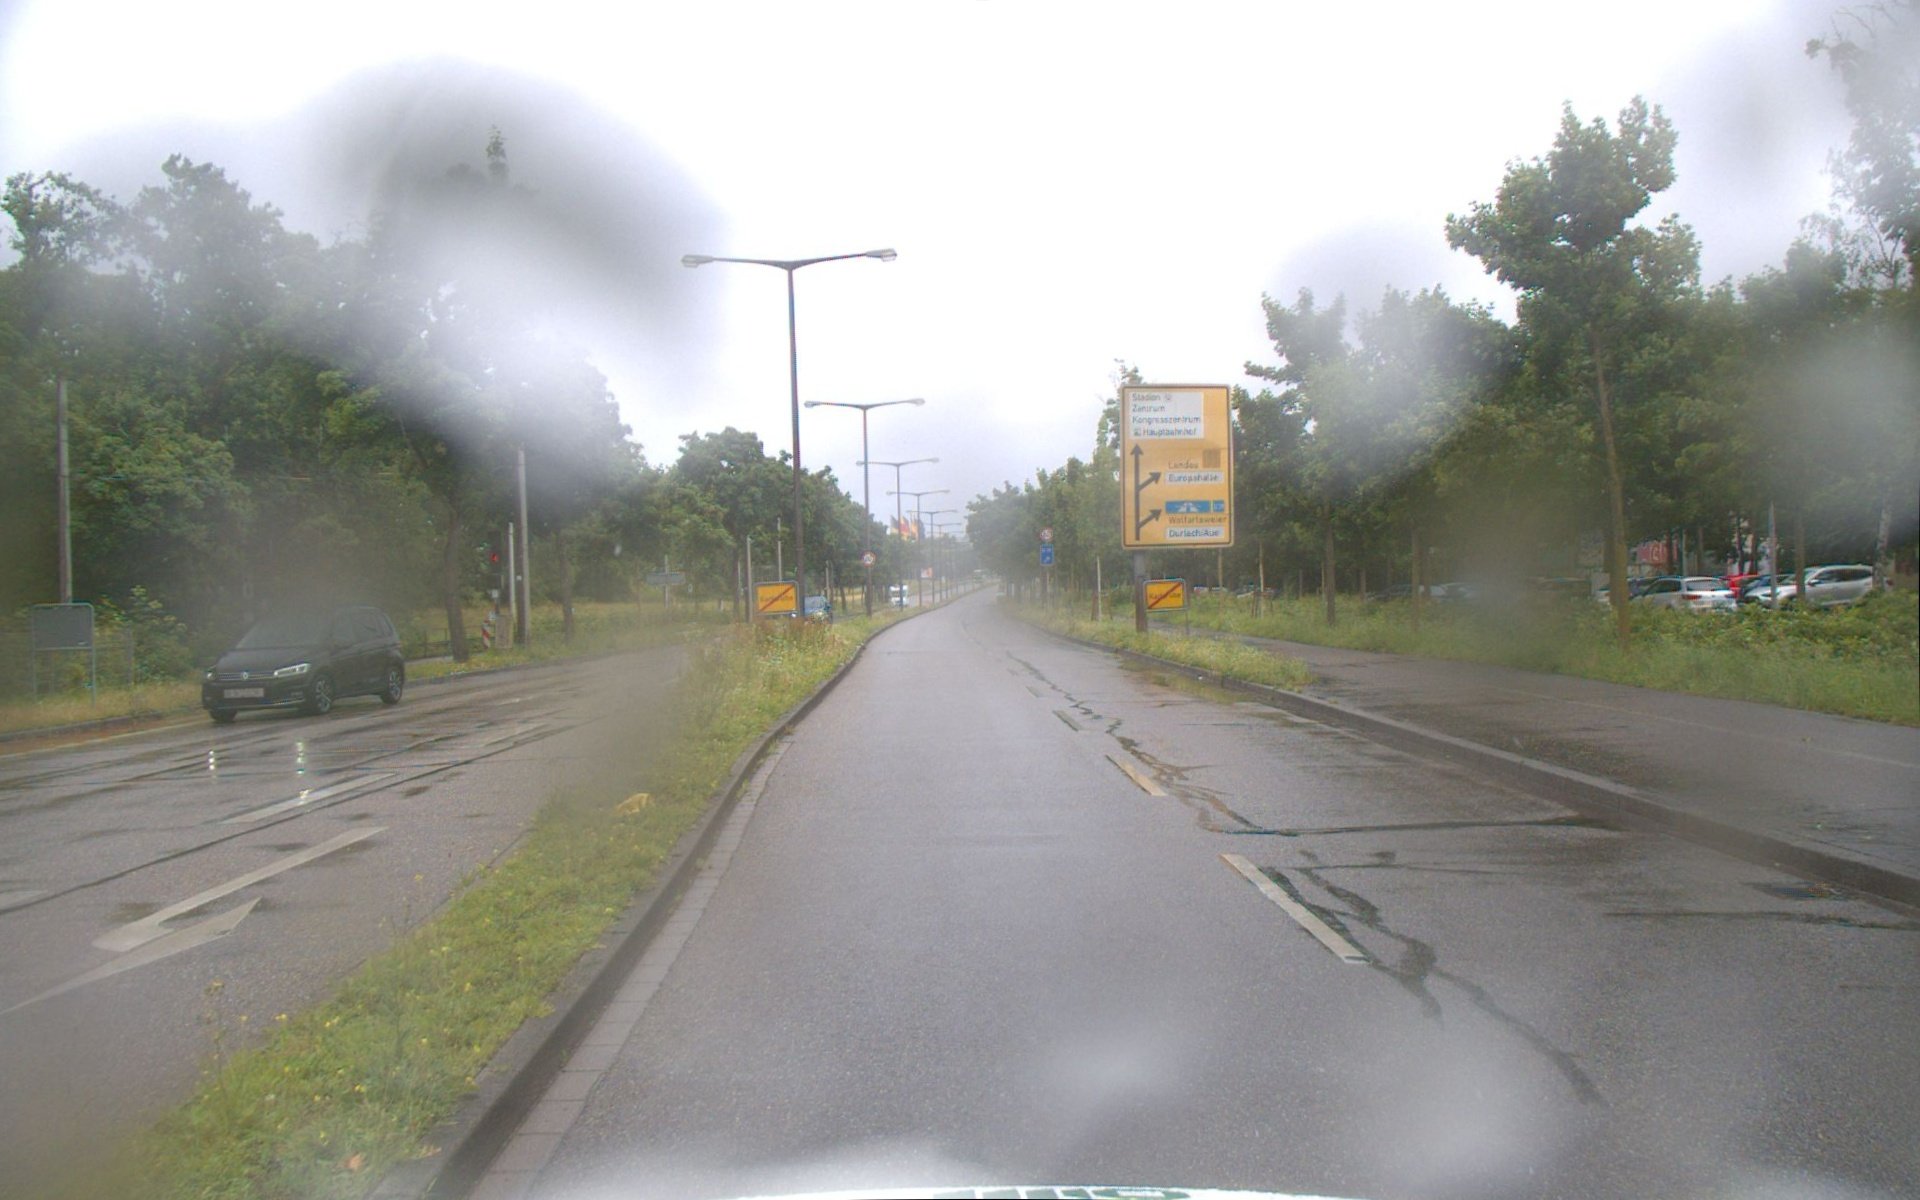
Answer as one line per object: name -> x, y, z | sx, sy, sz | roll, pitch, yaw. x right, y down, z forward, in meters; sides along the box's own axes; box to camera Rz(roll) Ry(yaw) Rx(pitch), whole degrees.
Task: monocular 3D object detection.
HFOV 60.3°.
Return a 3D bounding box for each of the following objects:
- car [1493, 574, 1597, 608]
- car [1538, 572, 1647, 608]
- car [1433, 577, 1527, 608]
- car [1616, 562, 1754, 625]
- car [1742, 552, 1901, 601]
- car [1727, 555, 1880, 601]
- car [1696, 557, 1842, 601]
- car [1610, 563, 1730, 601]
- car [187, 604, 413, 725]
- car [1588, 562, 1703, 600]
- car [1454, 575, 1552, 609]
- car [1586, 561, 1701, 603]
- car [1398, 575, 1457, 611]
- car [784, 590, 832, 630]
car -> 28.711, -0.433, 81.251 | 4.473, 1.585, 1.946 | 0, 0, 4
car -> 28.997, -0.459, 75.896 | 4.248, 1.585, 1.944 | 0, 0, -3
car -> 28.174, -0.393, 89.635 | 4.480, 1.674, 1.998 | 0, 0, -5
car -> 20.857, -0.177, 47.804 | 1.952, 1.654, 4.642 | -2, 0, 1
car -> 28.025, -0.754, 53.886 | 4.248, 1.530, 1.923 | 0, 0, -3
car -> 28.728, -0.738, 56.416 | 4.248, 1.510, 1.944 | 0, 0, -3
car -> 28.733, -0.725, 58.815 | 4.248, 1.510, 1.944 | 0, 0, -3
car -> 28.441, -0.706, 66.347 | 4.046, 1.485, 1.789 | 0, 0, 0
car -> -10.591, 0.976, 26.915 | 1.671, 1.670, 4.333 | -3, 0, 3
car -> 28.640, -0.789, 69.169 | 4.105, 1.510, 1.759 | 0, 0, -3
car -> 28.449, -0.406, 86.734 | 4.479, 1.735, 1.999 | 0, 0, -3
car -> 29.837, -0.768, 72.239 | 4.248, 1.755, 1.944 | 0, 0, -3
car -> 21.429, -0.359, 75.949 | 1.708, 1.470, 4.124 | -2, 2, 3
car -> -6.891, 0.438, 75.350 | 1.708, 1.679, 4.136 | -4, 0, 0
